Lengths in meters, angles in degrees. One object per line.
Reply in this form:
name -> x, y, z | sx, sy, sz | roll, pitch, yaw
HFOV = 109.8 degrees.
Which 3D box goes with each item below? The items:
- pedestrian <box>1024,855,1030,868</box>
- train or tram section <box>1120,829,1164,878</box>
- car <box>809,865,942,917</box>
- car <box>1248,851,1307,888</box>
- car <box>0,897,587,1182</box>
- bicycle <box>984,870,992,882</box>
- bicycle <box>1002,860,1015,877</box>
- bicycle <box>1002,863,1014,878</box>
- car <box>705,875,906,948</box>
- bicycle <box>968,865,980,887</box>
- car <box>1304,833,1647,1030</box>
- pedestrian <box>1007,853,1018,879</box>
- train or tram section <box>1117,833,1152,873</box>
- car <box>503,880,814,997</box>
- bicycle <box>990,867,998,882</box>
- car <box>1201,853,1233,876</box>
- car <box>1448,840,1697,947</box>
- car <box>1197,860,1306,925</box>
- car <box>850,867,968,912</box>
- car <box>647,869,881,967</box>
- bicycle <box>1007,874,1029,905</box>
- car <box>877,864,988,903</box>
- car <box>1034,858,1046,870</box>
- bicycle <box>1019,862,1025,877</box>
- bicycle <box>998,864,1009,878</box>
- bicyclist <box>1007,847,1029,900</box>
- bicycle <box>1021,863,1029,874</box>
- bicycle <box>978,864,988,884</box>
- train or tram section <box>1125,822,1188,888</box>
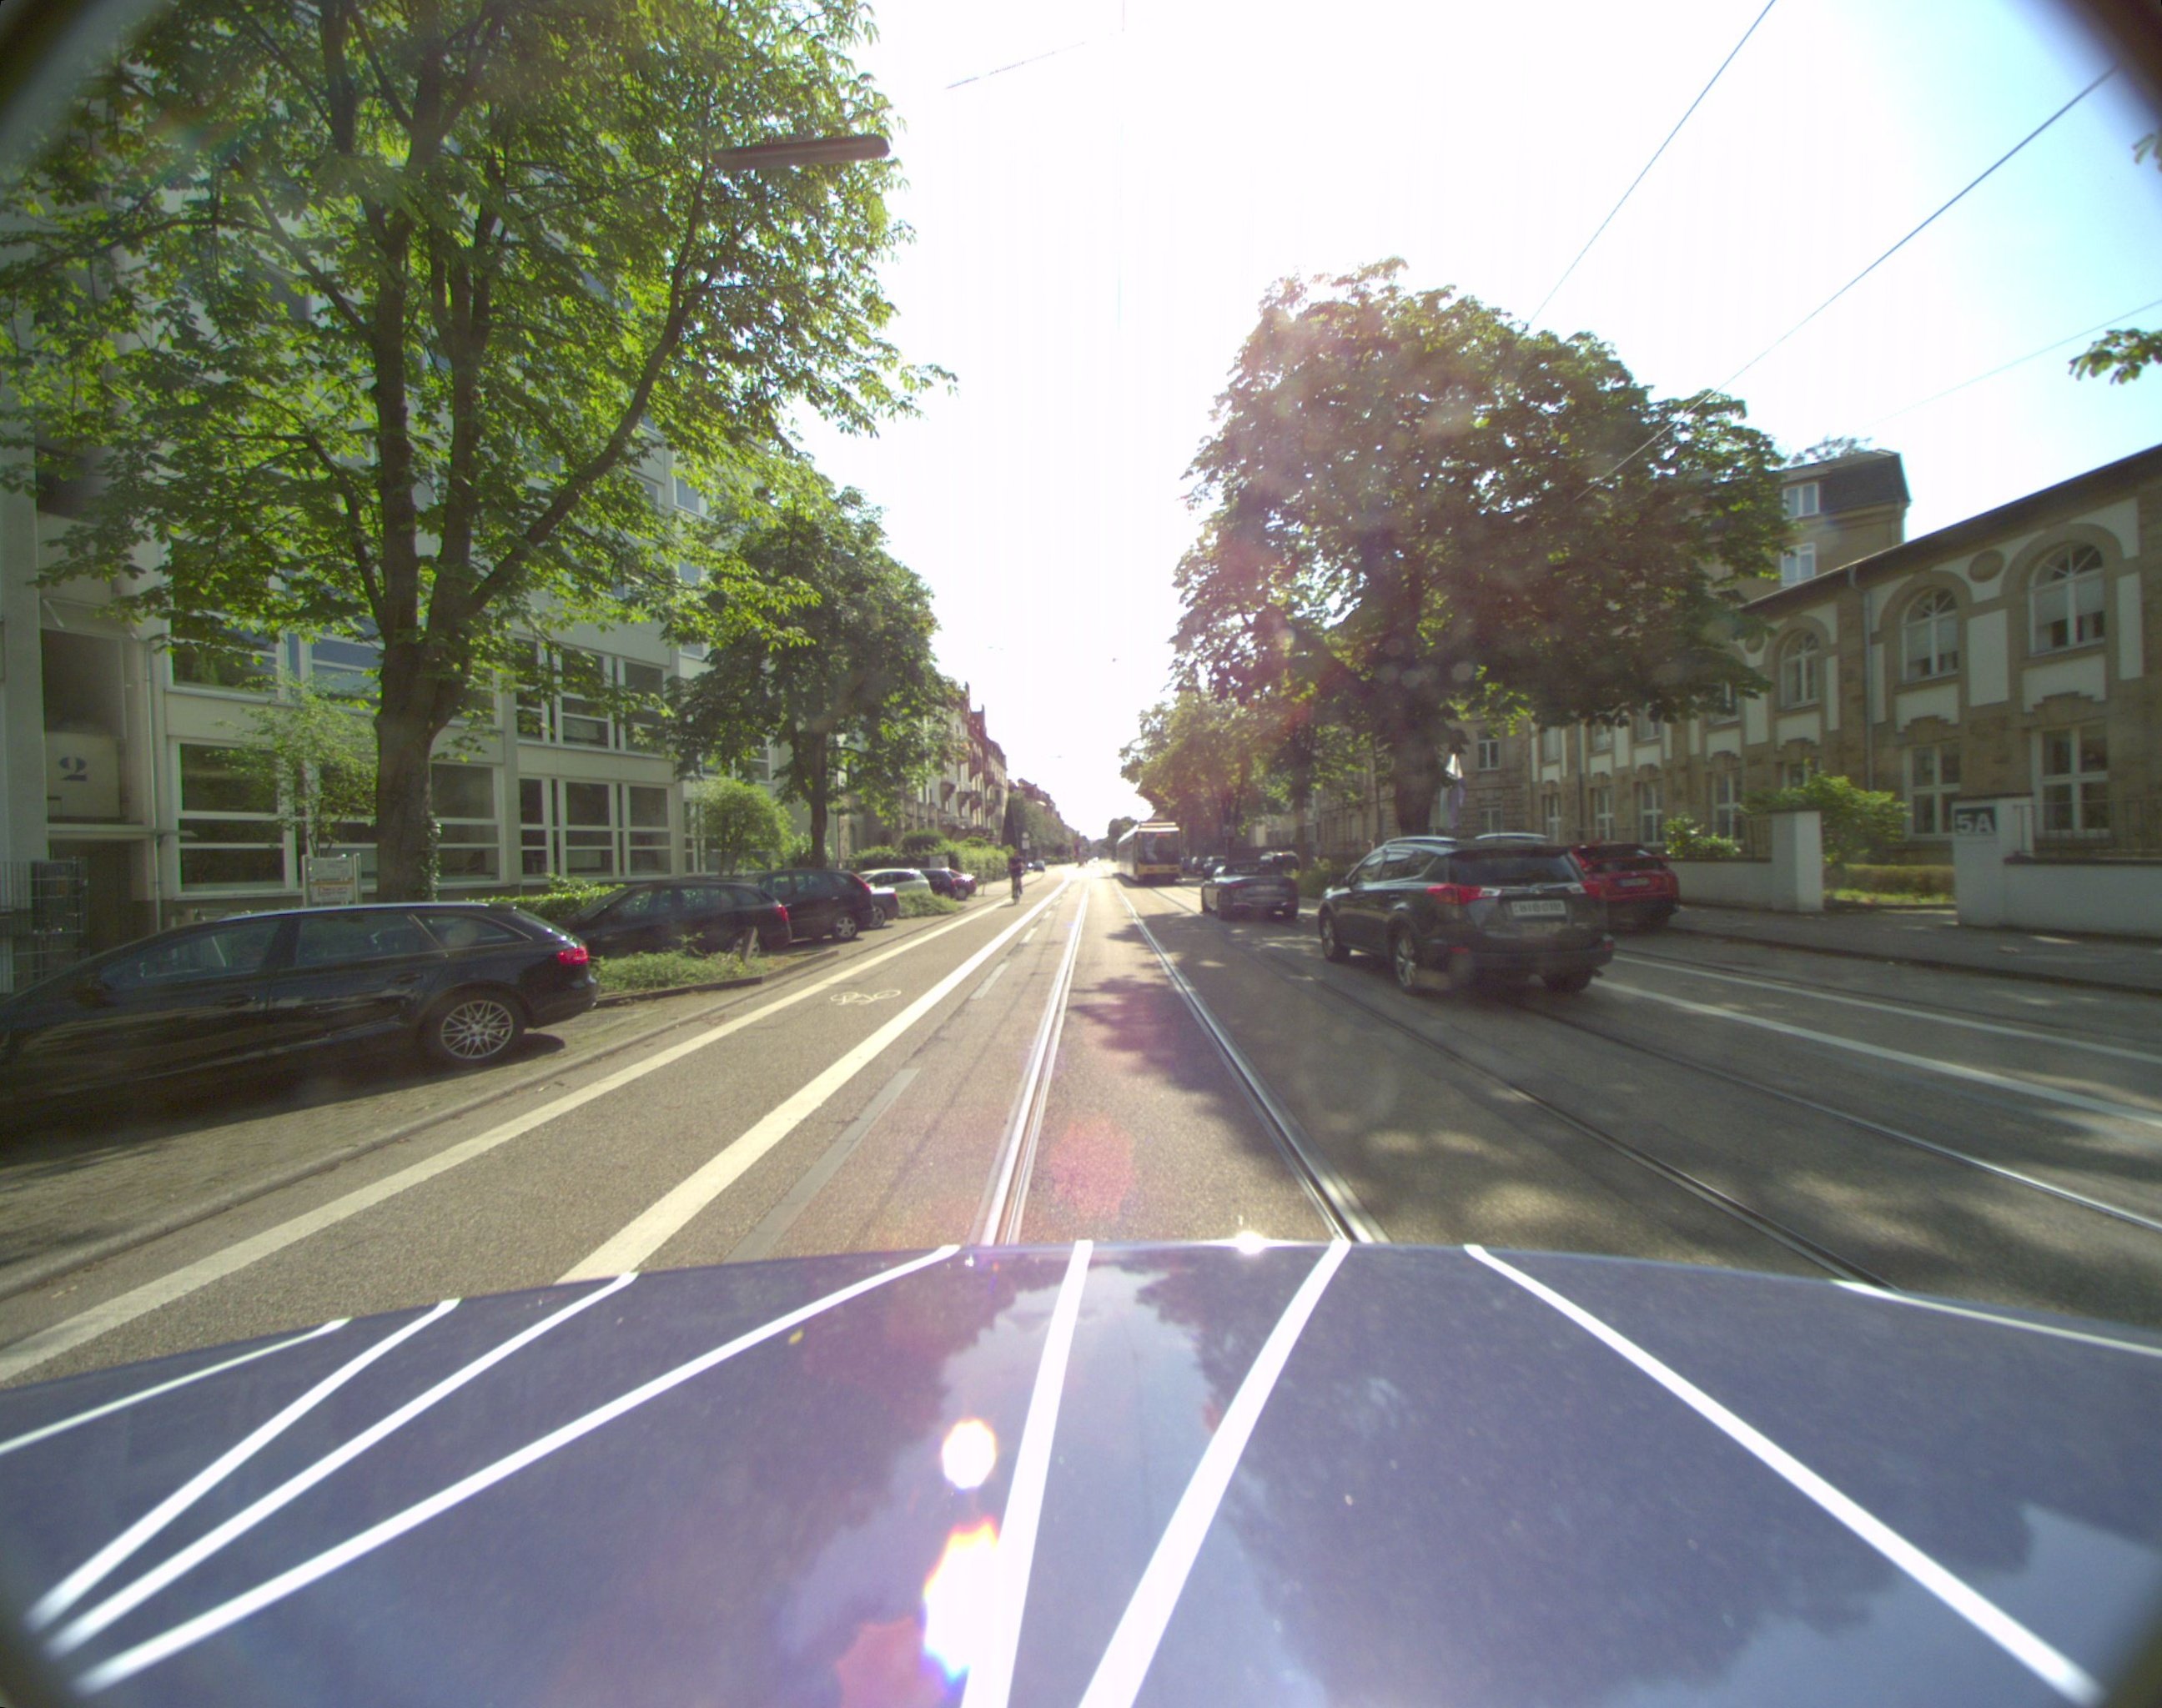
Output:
pedestrian -> -7.734, 1.057, 109.261 | 0.661, 1.831, 0.873 | 7, -1, -7
train or tram section -> 4.545, -0.078, 58.512 | 2.659, 3.369, 11.472 | 0, 0, 1
car -> -6.808, 1.194, 25.401 | 4.008, 1.452, 1.531 | -2, 0, -44
car -> 9.752, 0.728, 38.069 | 1.811, 1.631, 4.331 | -3, 0, 0
car -> -6.709, 1.254, 5.798 | 4.544, 1.434, 2.026 | -4, 1, -44
bicycle -> -5.780, 1.383, 47.141 | 0.280, 0.673, 1.559 | 2, 1, 1
bicycle -> -5.682, 1.134, 59.923 | 0.742, 1.224, 2.516 | -1, 1, 0
bicycle -> -5.396, 1.201, 56.450 | 0.612, 0.990, 2.362 | 1, 1, 1
car -> -6.672, 1.331, 18.683 | 4.183, 1.341, 1.900 | -3, 0, -44
bicycle -> -5.861, 1.204, 41.710 | 0.280, 1.102, 2.010 | 2, 1, 1
car -> 4.206, 0.707, 9.054 | 1.830, 1.717, 4.391 | -2, 0, 1
pedestrian -> -4.930, 0.835, 54.656 | 0.790, 1.850, 0.580 | 1, 0, -6
train or tram section -> 4.806, -0.101, 70.363 | 2.659, 3.416, 12.315 | 0, 0, 1
car -> -6.724, 1.246, 12.372 | 4.084, 1.434, 1.722 | -1, -2, -43
bicycle -> -5.659, 1.318, 49.397 | 0.274, 0.902, 1.668 | -2, 0, 1
car -> 10.079, 0.767, 56.490 | 1.658, 1.476, 3.808 | -3, 1, 0
car -> 9.214, 0.636, 14.839 | 1.755, 1.656, 4.720 | -3, 0, 0
car -> 4.143, 0.877, 19.166 | 1.803, 1.380, 4.426 | -1, 0, 1
car -> -6.468, 1.284, 28.787 | 4.007, 1.440, 1.695 | -2, 0, -41
car -> -6.479, 1.216, 15.741 | 4.007, 1.565, 1.900 | -3, 0, -41
bicycle -> -2.363, 1.316, 28.682 | 0.617, 1.039, 1.835 | 2, 1, 1
car -> -6.191, 1.194, 31.955 | 4.168, 1.415, 1.861 | -1, 0, -41
car -> -5.456, 1.306, 100.637 | 1.517, 1.490, 2.794 | 1, 0, -1
bicycle -> -5.262, 1.347, 67.369 | 0.452, 1.253, 1.844 | 1, 0, -2
bicycle -> -5.510, 1.196, 54.051 | 0.614, 0.983, 1.872 | 0, 1, 1
bicyclist -> -2.351, 0.727, 28.600 | 0.608, 1.937, 1.130 | -3, 1, 1
bicycle -> -5.348, 1.351, 72.639 | 0.600, 0.955, 3.066 | 2, 0, -2
bicycle -> -5.813, 1.178, 45.228 | 0.280, 1.102, 2.010 | 2, 1, 1
train or tram section -> 4.275, -0.006, 45.767 | 2.659, 3.336, 14.108 | 0, 0, 1
